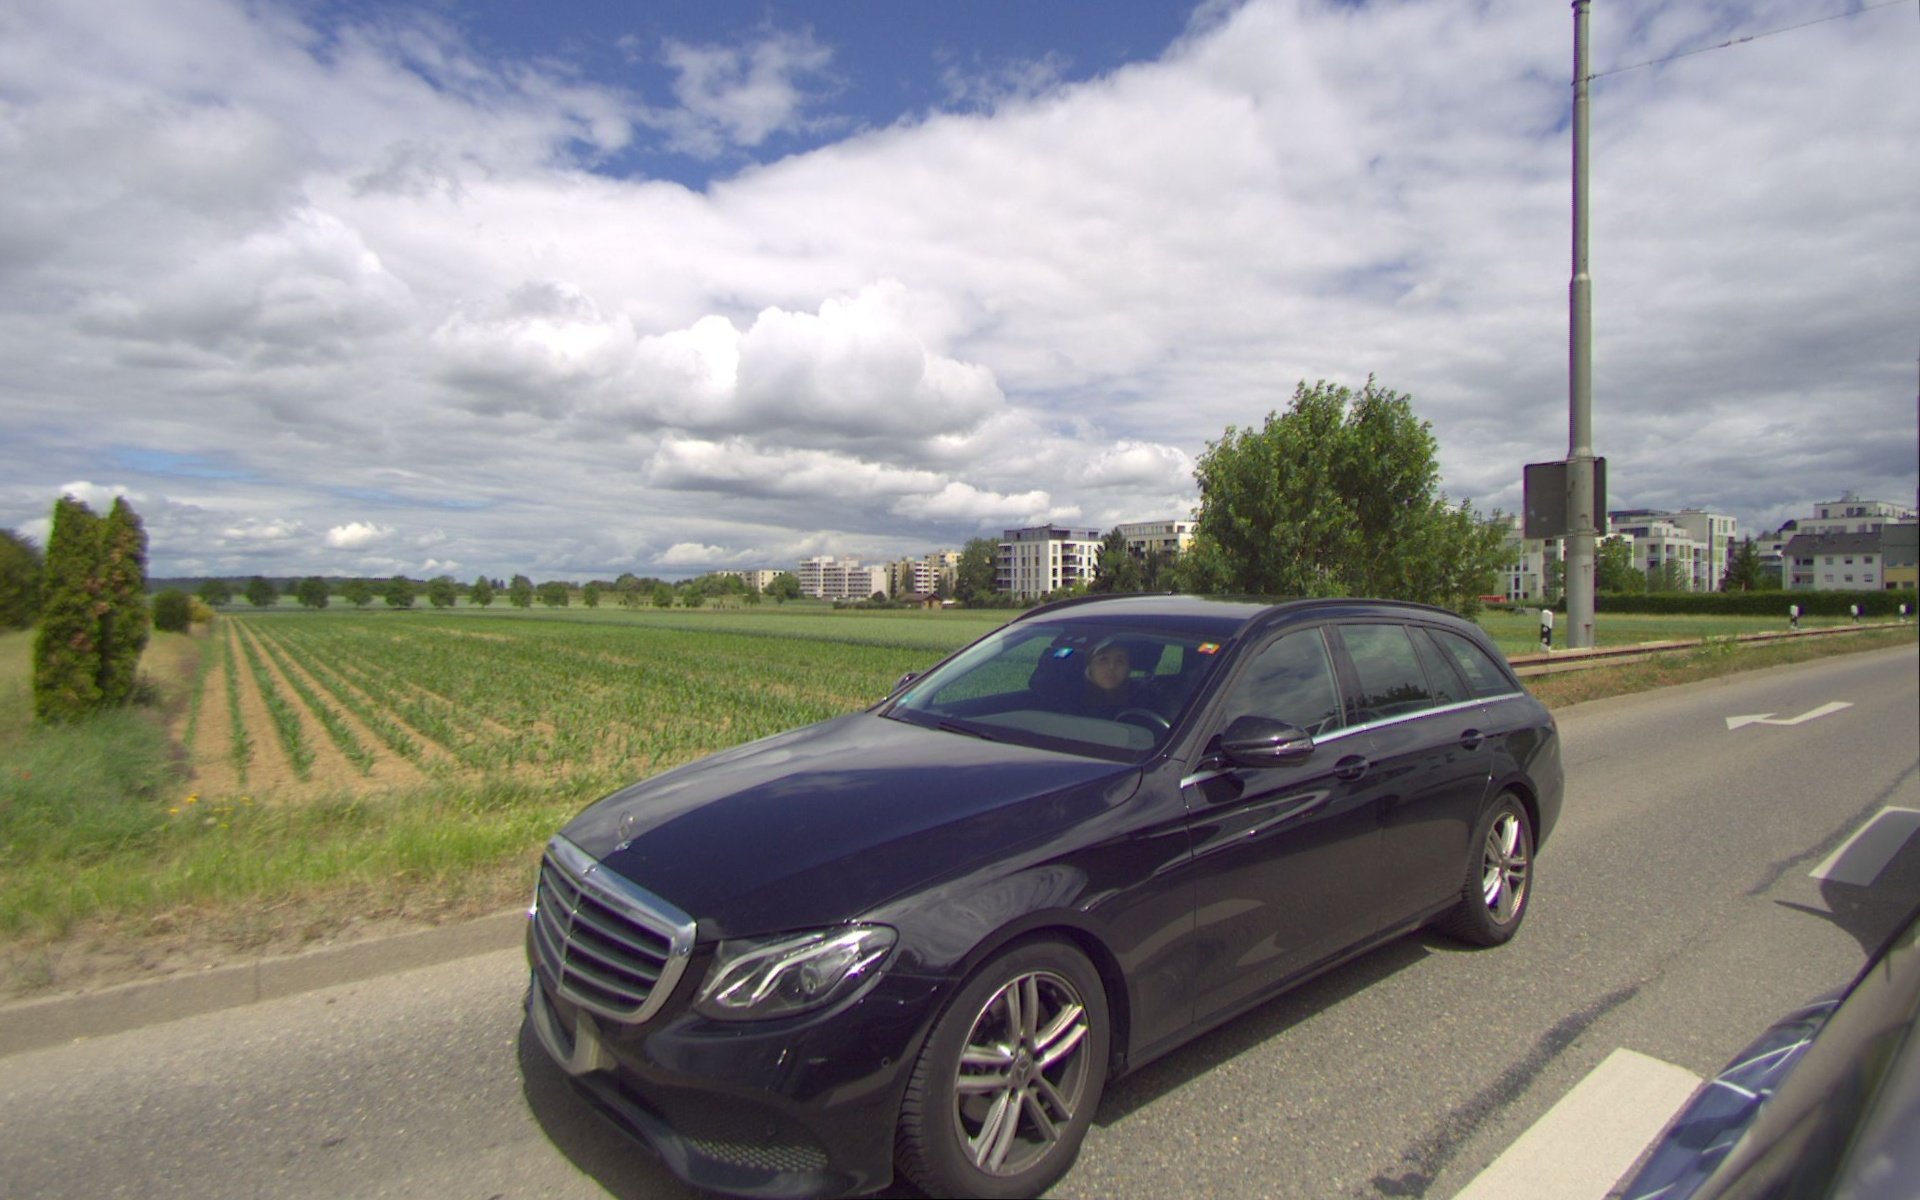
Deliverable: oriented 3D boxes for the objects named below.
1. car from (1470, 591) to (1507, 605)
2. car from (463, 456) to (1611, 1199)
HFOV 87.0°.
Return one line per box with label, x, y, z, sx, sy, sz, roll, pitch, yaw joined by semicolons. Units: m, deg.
car;77.094;-0.315;147.757;1.964;2.039;4.436;-1;1;-39
car;0.799;0.564;4.109;4.720;1.557;1.841;2;-1;-41
